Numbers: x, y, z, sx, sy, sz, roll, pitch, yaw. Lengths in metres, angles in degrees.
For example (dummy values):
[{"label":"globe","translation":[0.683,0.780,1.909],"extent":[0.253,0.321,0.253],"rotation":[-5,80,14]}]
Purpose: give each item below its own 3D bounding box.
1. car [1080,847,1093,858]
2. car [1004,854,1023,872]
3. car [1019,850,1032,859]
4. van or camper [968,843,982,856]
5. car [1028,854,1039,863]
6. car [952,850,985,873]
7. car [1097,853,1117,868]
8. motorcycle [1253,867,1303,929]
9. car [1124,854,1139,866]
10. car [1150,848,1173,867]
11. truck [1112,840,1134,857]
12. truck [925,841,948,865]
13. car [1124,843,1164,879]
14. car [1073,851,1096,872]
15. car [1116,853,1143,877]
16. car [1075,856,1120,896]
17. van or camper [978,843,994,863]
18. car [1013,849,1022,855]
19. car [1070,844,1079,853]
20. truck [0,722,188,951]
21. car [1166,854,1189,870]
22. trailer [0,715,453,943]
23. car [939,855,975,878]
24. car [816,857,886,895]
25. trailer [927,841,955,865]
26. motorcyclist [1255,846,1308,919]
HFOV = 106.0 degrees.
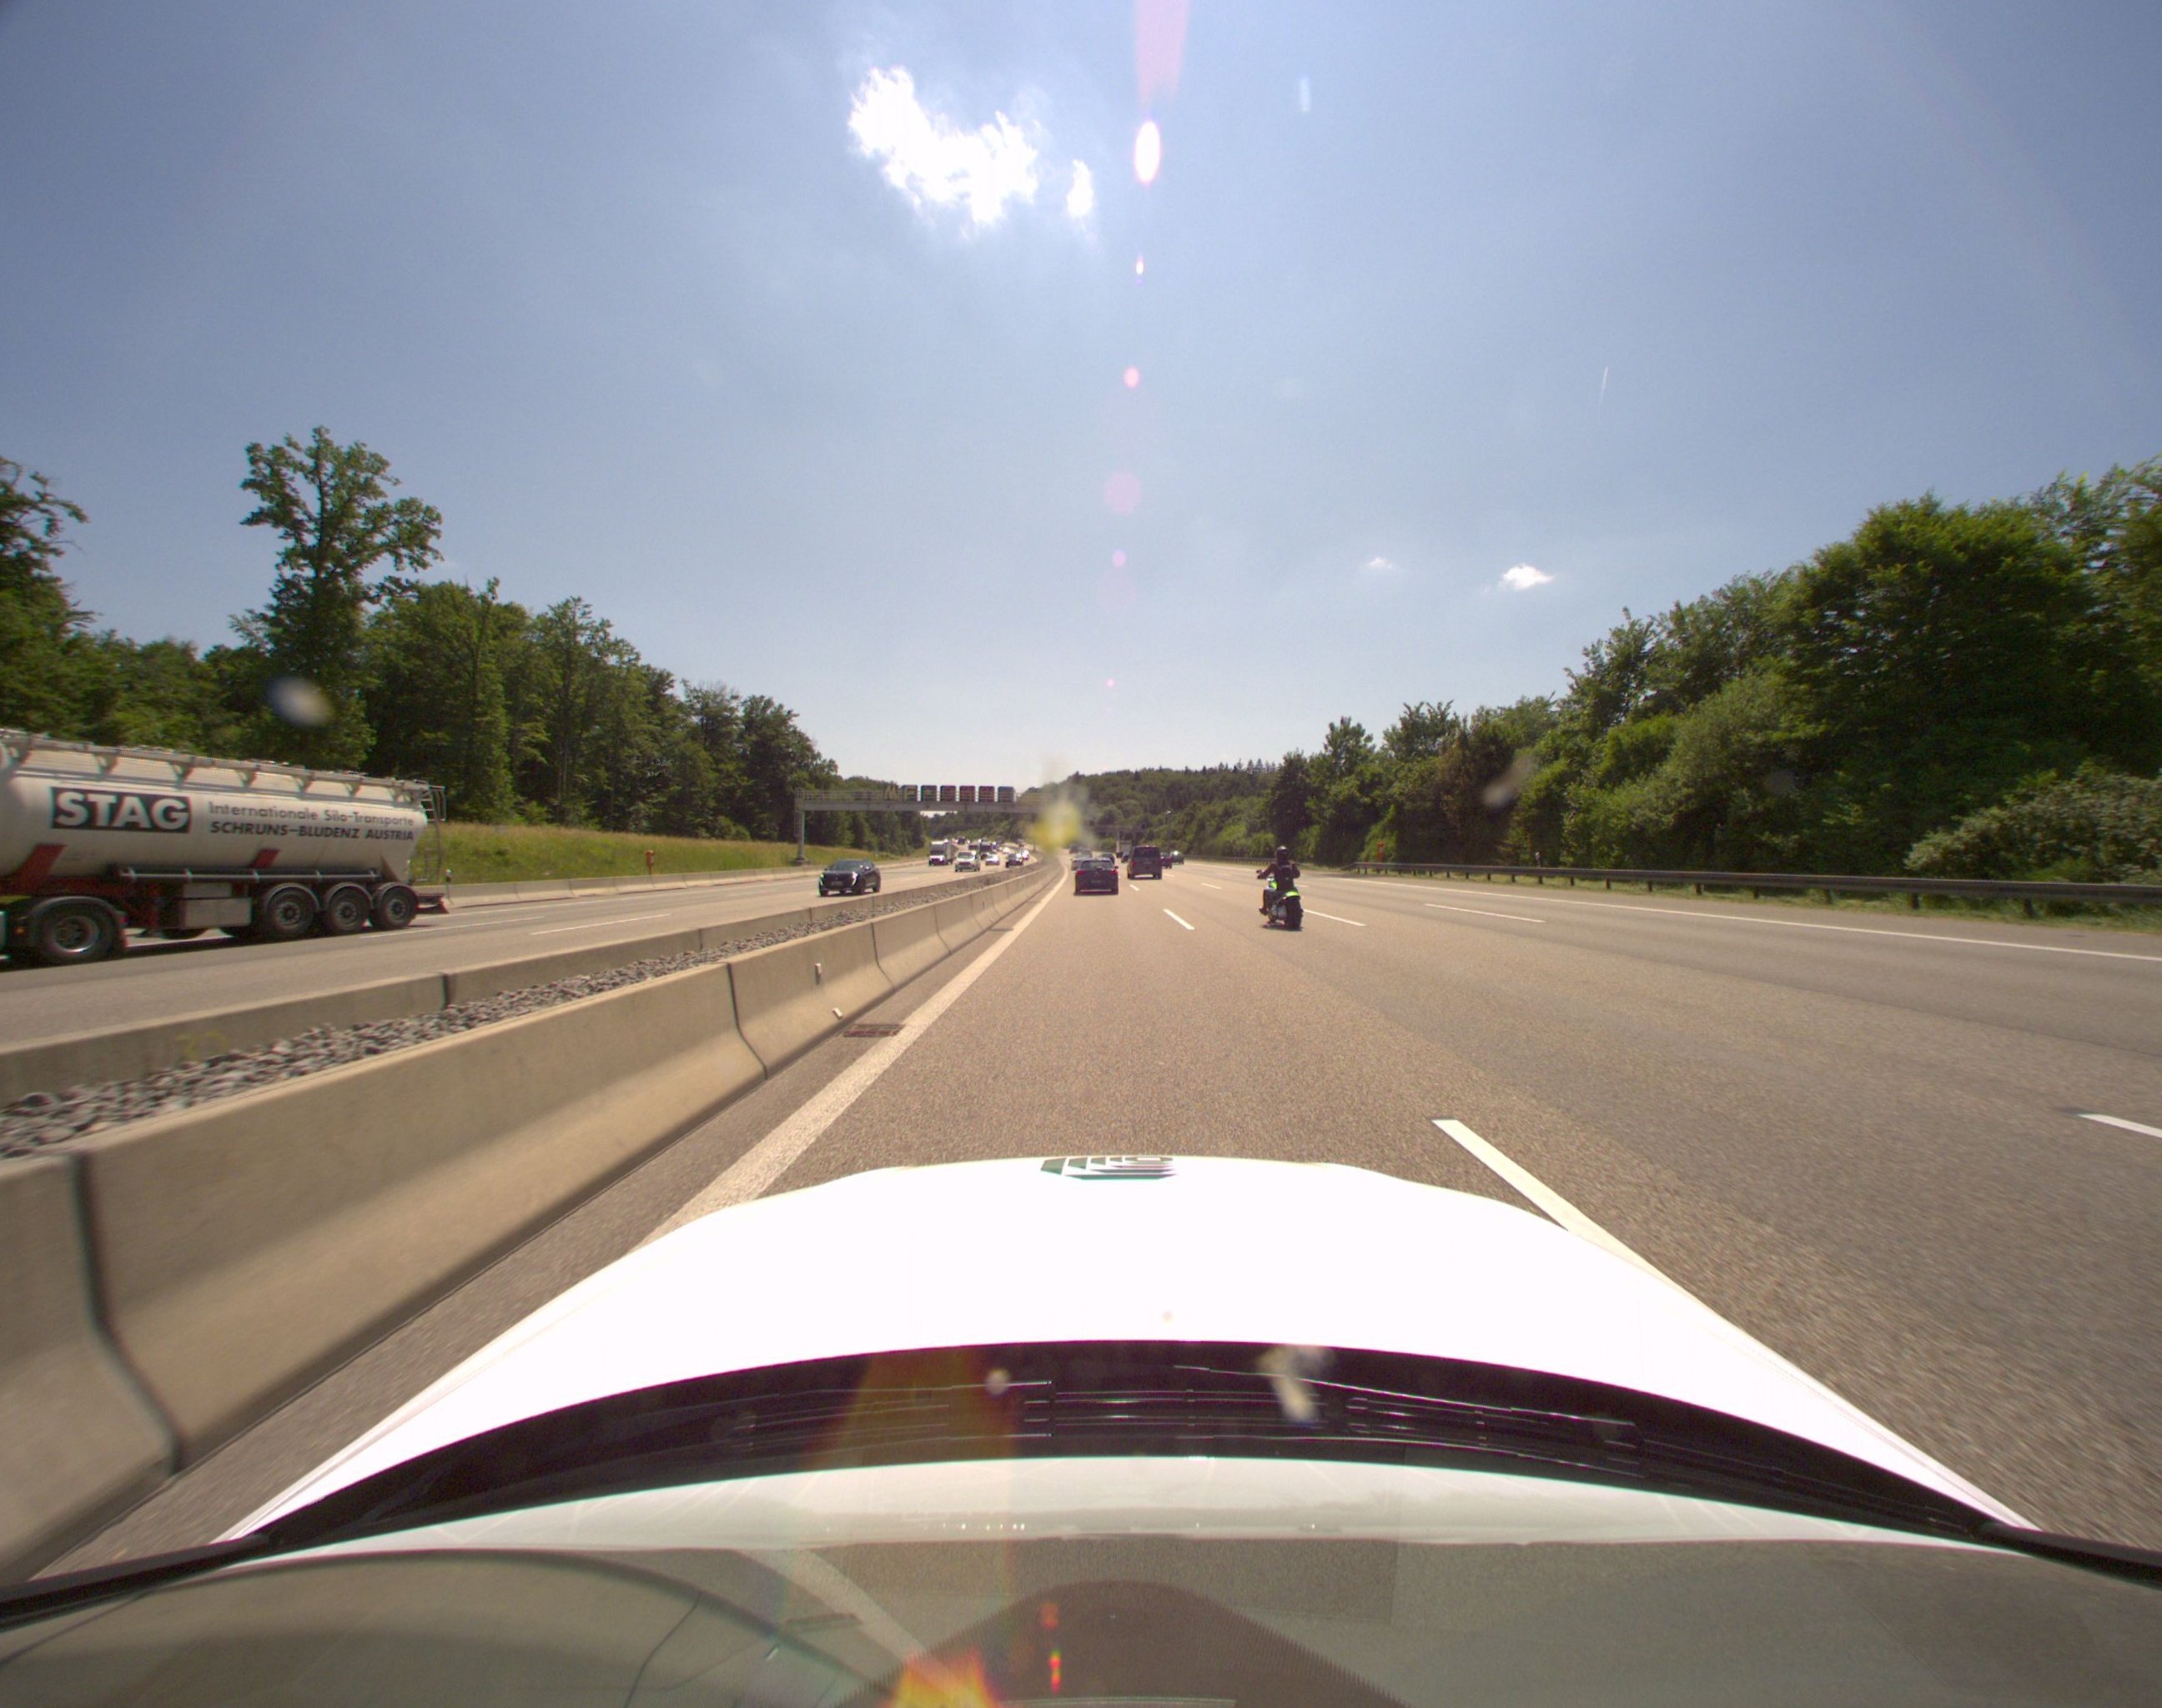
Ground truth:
[{"label":"car","translation":[1.019,-0.247,145.496],"extent":[2.097,1.744,4.685],"rotation":[-1,1,-2]},{"label":"car","translation":[-7.504,1.003,91.115],"extent":[1.989,2.014,3.996],"rotation":[0,-1,-3]},{"label":"car","translation":[-9.633,0.052,141.806],"extent":[2.042,1.442,5.218],"rotation":[-1,0,-1]},{"label":"van or camper","translation":[-25.934,-1.014,199.534],"extent":[2.758,3.125,8.086],"rotation":[0,-1,-3]},{"label":"car","translation":[-9.424,0.946,161.972],"extent":[1.987,1.728,3.999],"rotation":[-1,0,-1]},{"label":"car","translation":[-10.699,0.665,78.084],"extent":[2.189,2.055,7.137],"rotation":[-1,0,-1]},{"label":"car","translation":[3.107,0.817,99.061],"extent":[1.989,1.728,4.143],"rotation":[-1,0,-4]},{"label":"motorcycle","translation":[4.085,0.873,17.039],"extent":[0.533,1.135,2.438],"rotation":[-1,1,2]},{"label":"car","translation":[6.731,0.816,108.702],"extent":[1.660,1.408,4.904],"rotation":[-1,1,1]},{"label":"car","translation":[7.468,0.338,75.588],"extent":[1.842,1.728,4.002],"rotation":[-1,0,2]},{"label":"truck","translation":[7.820,-1.072,152.486],"extent":[2.981,3.166,7.562],"rotation":[-1,1,-5]},{"label":"truck","translation":[-19.420,-0.157,109.529],"extent":[2.481,3.166,4.398],"rotation":[0,0,-2]},{"label":"car","translation":[3.805,0.401,49.971],"extent":[1.957,2.033,5.081],"rotation":[-1,0,-1]},{"label":"car","translation":[0.346,0.717,76.184],"extent":[2.004,1.846,4.001],"rotation":[-1,-2,2]},{"label":"car","translation":[3.540,0.784,59.944],"extent":[1.937,1.712,4.002],"rotation":[0,-1,3]},{"label":"car","translation":[0.667,0.824,32.937],"extent":[1.702,1.433,4.001],"rotation":[0,1,1]},{"label":"van or camper","translation":[-18.223,-0.245,155.852],"extent":[2.424,3.678,7.751],"rotation":[-1,0,-3]},{"label":"car","translation":[-16.421,-0.557,211.926],"extent":[1.988,1.590,4.841],"rotation":[-1,0,-1]},{"label":"car","translation":[-1.628,-1.501,214.271],"extent":[2.258,2.371,4.701],"rotation":[-1,0,0]},{"label":"truck","translation":[-18.074,-0.282,11.876],"extent":[2.695,3.543,6.620],"rotation":[0,-1,0]},{"label":"car","translation":[10.997,0.911,93.205],"extent":[1.989,1.728,3.996],"rotation":[-1,0,-2]},{"label":"trailer","translation":[-18.075,-0.328,16.388],"extent":[2.643,3.535,10.493],"rotation":[0,-1,0]},{"label":"car","translation":[-9.934,0.954,65.829],"extent":[2.281,1.728,5.026],"rotation":[-1,0,-2]},{"label":"car","translation":[-9.862,0.936,35.215],"extent":[1.669,1.526,4.610],"rotation":[0,-1,0]},{"label":"trailer","translation":[-19.624,-0.084,114.631],"extent":[2.468,3.154,10.470],"rotation":[0,-1,-2]},{"label":"motorcyclist","translation":[4.111,0.563,16.759],"extent":[0.849,1.427,1.024],"rotation":[-1,0,1]}]
